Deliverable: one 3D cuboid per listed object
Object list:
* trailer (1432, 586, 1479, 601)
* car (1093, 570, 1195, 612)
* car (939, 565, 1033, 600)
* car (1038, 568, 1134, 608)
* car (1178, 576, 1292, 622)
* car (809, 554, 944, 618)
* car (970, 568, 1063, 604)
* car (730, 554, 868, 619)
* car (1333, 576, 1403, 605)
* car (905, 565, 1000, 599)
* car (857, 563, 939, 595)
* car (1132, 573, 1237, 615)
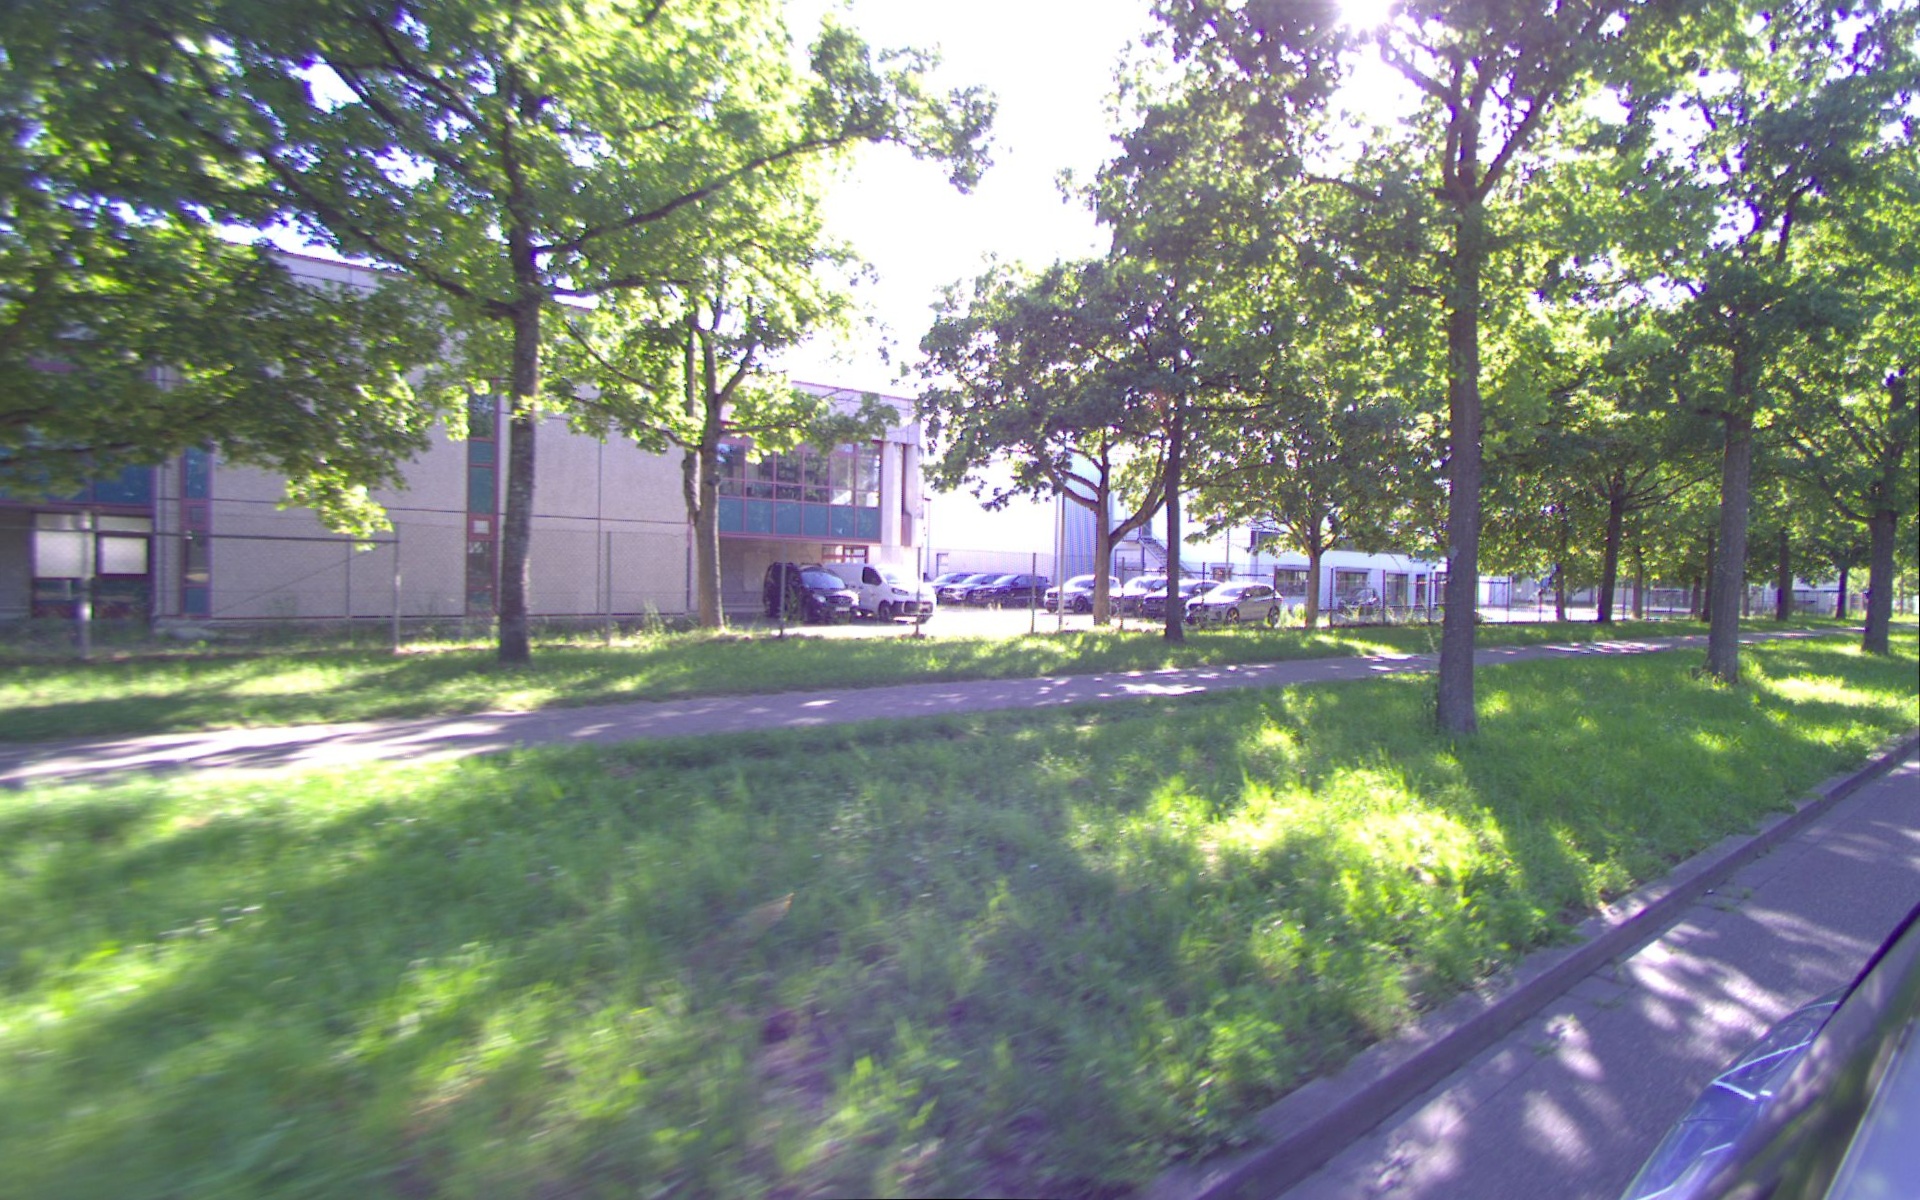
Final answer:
[{"bbox_3d":[44.607,-0.598,91.164,1.694,1.282,3.604,1,2,-22],"label":"trailer"},{"bbox_3d":[7.867,-0.389,43.074,4.379,1.694,1.997,0,2,-42],"label":"car"},{"bbox_3d":[1.334,-0.856,50.779,4.629,1.694,1.707,-1,0,-35],"label":"car"},{"bbox_3d":[5.659,-0.538,45.104,1.994,1.694,4.384,0,1,45],"label":"car"},{"bbox_3d":[10.580,-0.083,38.775,4.635,1.626,1.997,-1,3,-42],"label":"car"},{"bbox_3d":[-2.995,-0.550,35.180,1.864,1.983,5.068,0,3,-44],"label":"car"},{"bbox_3d":[2.730,-0.682,48.848,4.371,1.677,1.700,-1,0,-35],"label":"car"},{"bbox_3d":[-5.344,-0.497,33.081,1.967,1.907,4.952,0,2,-44],"label":"car"},{"bbox_3d":[22.397,-0.513,55.474,4.082,1.525,1.720,-1,0,-38],"label":"car"},{"bbox_3d":[-0.349,-0.919,52.649,4.879,1.694,1.742,-1,0,-37],"label":"car"},{"bbox_3d":[-3.419,-1.150,56.324,4.263,1.694,1.743,-1,0,-34],"label":"car"},{"bbox_3d":[9.163,-0.246,41.190,4.379,1.578,1.997,0,2,-42],"label":"car"}]
